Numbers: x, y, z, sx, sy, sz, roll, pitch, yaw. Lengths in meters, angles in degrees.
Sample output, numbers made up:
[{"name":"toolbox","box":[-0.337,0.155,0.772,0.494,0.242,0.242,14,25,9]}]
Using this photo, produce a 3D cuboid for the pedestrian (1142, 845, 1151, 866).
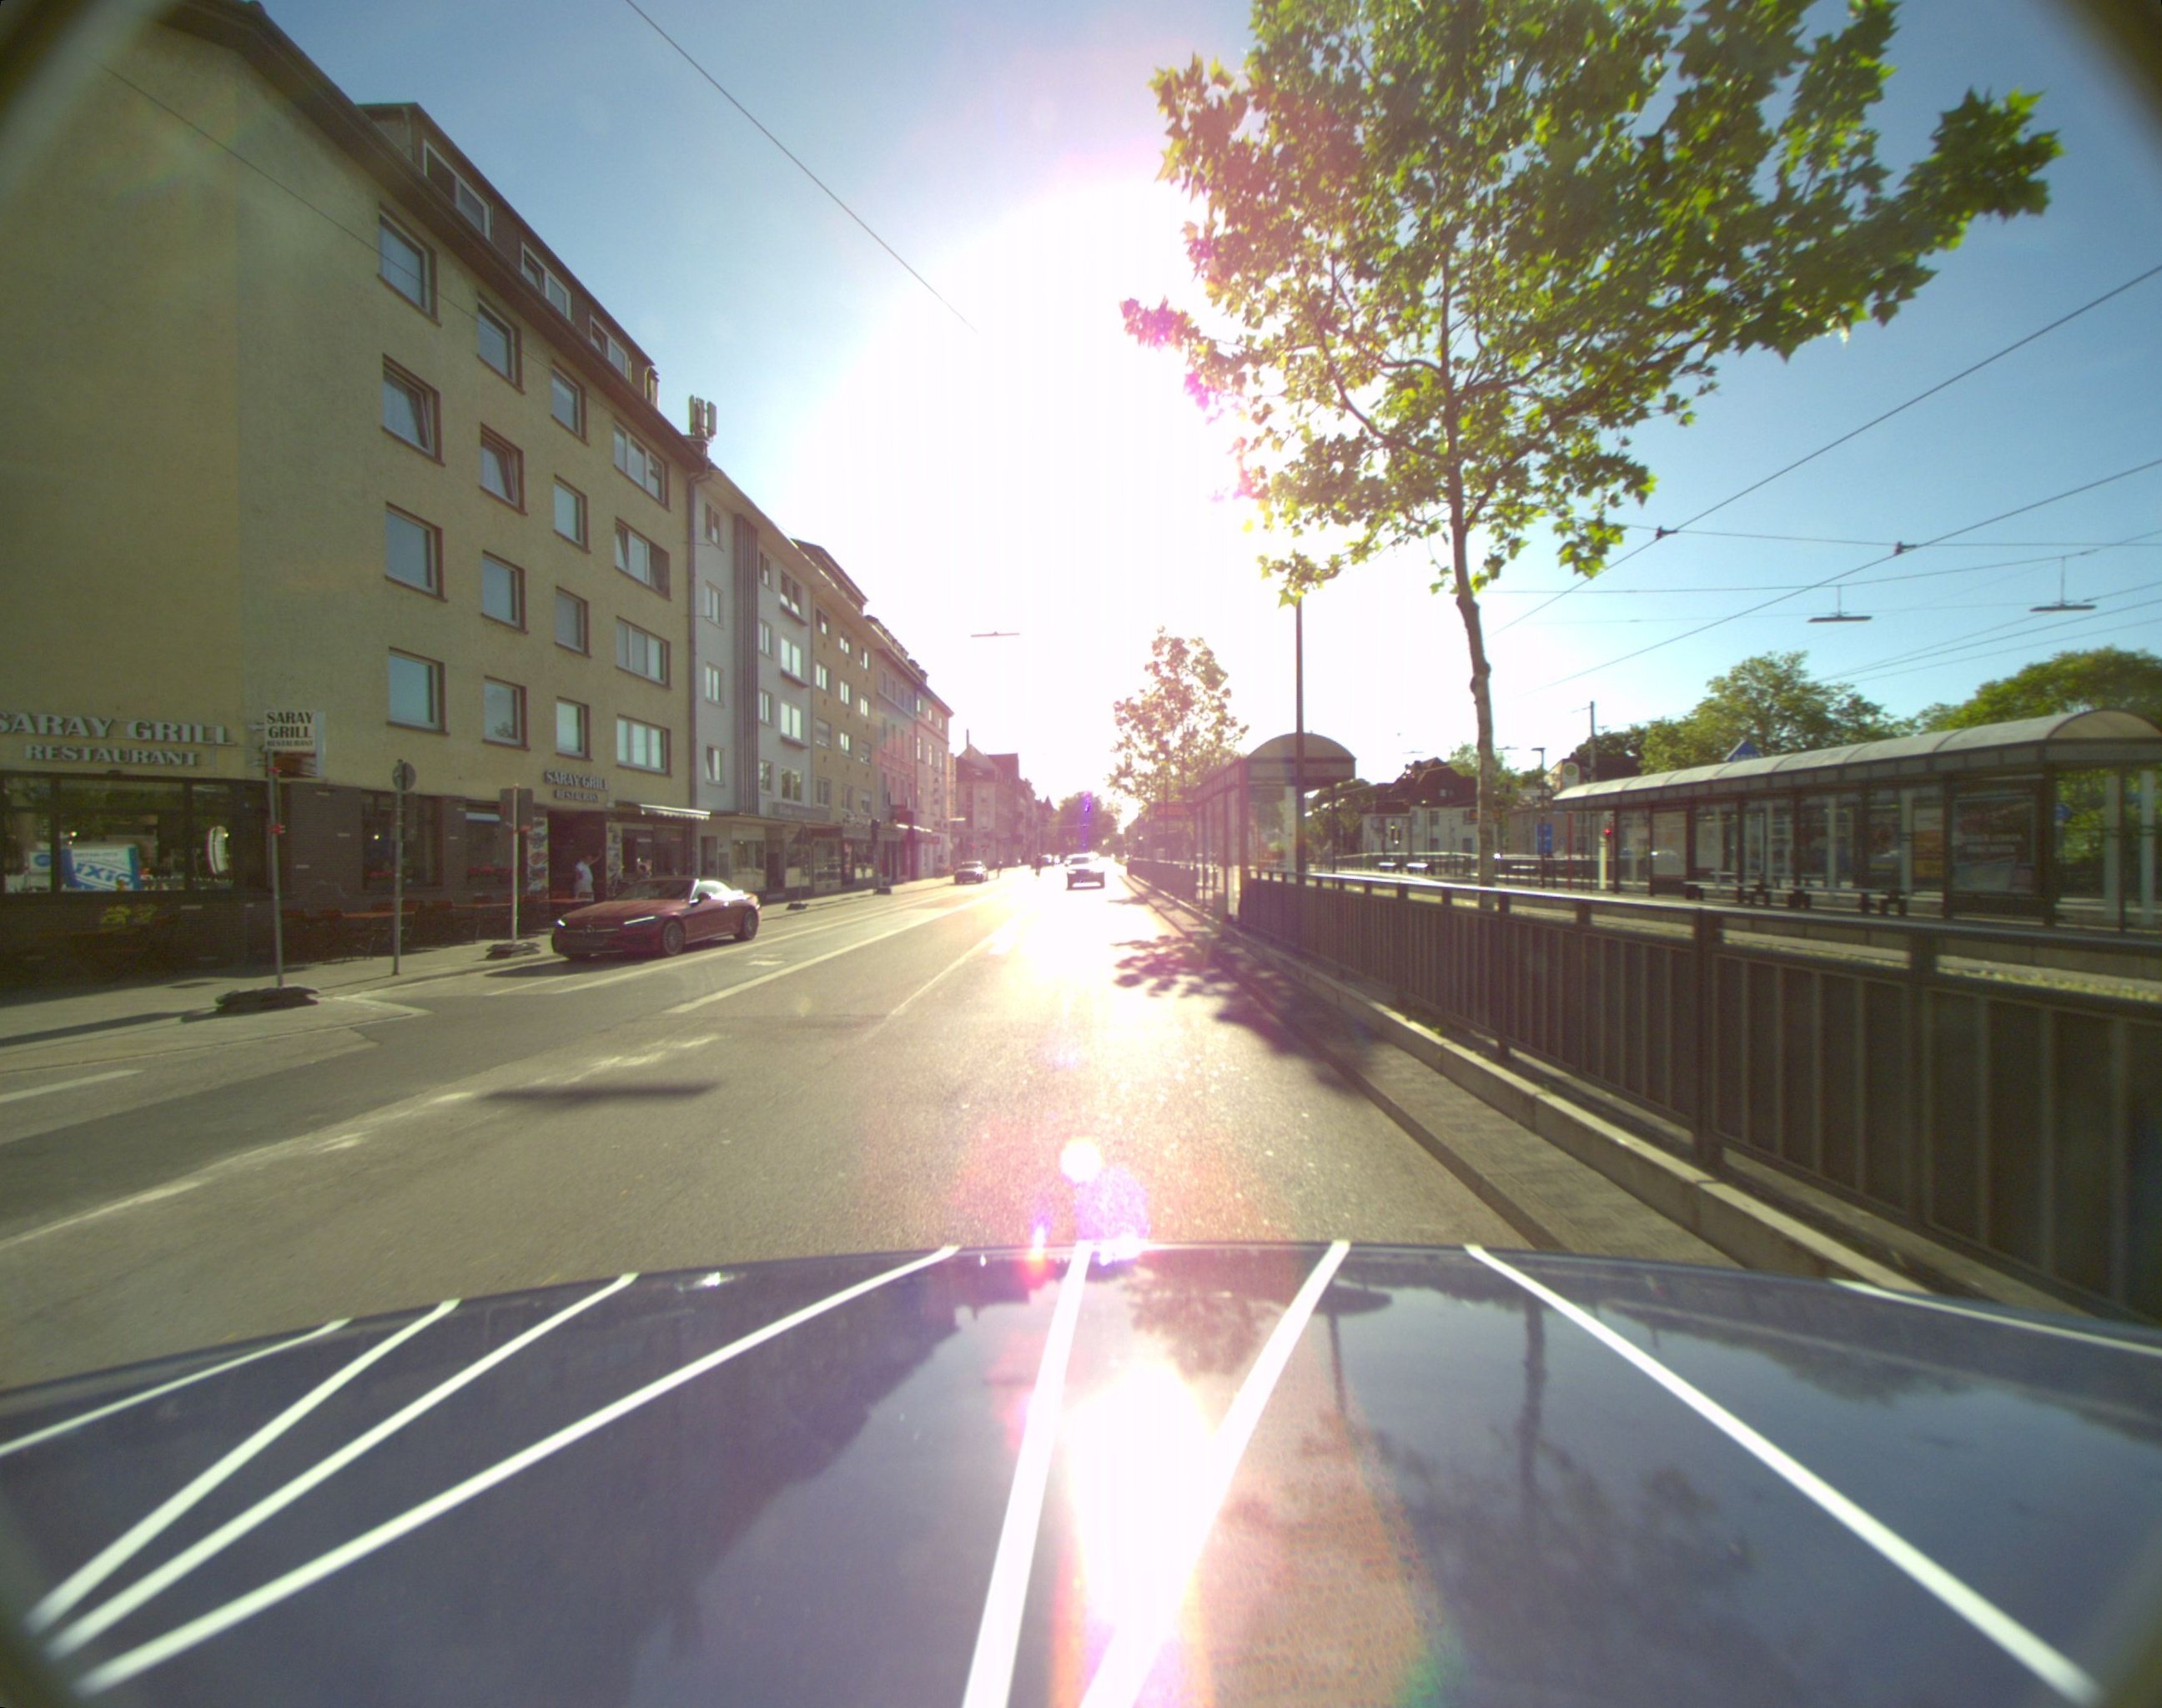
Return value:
[{"name":"pedestrian","box":[5.251,0.132,60.909,0.743,1.680,0.776,-1,1,4]}]

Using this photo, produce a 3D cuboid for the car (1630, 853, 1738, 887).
[{"name":"car","box":[26.743,0.667,33.885,1.802,1.412,4.000,-1,0,3]}]

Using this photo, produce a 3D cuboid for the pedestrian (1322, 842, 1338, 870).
[{"name":"pedestrian","box":[14.099,0.124,42.985,0.686,1.583,0.735,-1,1,2]}]

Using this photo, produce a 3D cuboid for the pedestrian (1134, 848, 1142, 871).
[{"name":"pedestrian","box":[4.443,0.421,59.419,0.637,1.817,0.776,-1,1,4]}]

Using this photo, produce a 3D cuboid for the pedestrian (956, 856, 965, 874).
[{"name":"pedestrian","box":[-11.211,1.051,70.644,0.663,1.680,0.677,-1,1,1]}]

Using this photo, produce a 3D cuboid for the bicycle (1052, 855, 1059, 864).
[{"name":"bicycle","box":[-3.582,0.764,106.671,0.693,1.208,2.299,-1,0,6]}]

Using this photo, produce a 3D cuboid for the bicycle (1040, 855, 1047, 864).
[{"name":"bicycle","box":[-5.260,0.814,106.845,0.693,1.208,2.299,-1,0,6]}]

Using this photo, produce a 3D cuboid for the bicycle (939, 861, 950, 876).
[{"name":"bicycle","box":[-10.693,1.137,59.604,0.697,1.102,1.863,-1,1,-13]}]

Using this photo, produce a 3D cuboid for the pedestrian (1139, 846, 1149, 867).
[{"name":"pedestrian","box":[5.160,0.185,62.477,0.799,1.680,0.776,-1,1,4]}]

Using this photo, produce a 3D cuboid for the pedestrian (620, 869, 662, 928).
[{"name":"pedestrian","box":[-11.503,1.142,19.869,0.672,1.498,0.652,-1,1,1]}]

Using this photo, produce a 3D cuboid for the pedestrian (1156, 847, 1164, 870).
[{"name":"pedestrian","box":[6.453,0.368,61.996,0.651,1.821,0.808,-1,1,4]}]

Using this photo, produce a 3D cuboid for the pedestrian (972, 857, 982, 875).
[{"name":"pedestrian","box":[-9.616,1.103,70.275,0.775,1.680,0.800,-1,-1,1]}]

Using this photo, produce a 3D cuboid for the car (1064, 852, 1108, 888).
[{"name":"car","box":[0.334,0.757,38.525,1.979,1.660,4.621,-2,0,3]}]

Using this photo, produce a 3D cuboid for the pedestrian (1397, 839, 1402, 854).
[{"name":"pedestrian","box":[37.863,-0.908,90.359,0.417,1.733,0.409,-1,1,1]}]

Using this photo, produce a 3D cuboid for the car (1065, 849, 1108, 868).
[{"name":"car","box":[0.522,0.368,66.316,1.995,1.594,4.280,-1,1,26]}]

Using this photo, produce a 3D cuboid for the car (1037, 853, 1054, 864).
[{"name":"car","box":[-5.951,0.711,128.734,2.294,1.716,4.595,-1,0,4]}]

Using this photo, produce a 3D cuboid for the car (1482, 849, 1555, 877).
[{"name":"car","box":[23.746,0.458,41.375,1.802,1.412,4.000,-1,0,3]}]

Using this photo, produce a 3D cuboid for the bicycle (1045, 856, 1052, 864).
[{"name":"bicycle","box":[-4.636,0.872,109.106,0.693,1.208,2.299,-1,0,6]}]

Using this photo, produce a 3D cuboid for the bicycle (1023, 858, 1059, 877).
[{"name":"bicycle","box":[-2.888,0.954,55.155,2.382,1.349,1.020,-1,1,-26]}]

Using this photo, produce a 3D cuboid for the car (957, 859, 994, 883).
[{"name":"car","box":[-7.222,1.125,52.362,1.904,1.421,4.716,-2,0,0]}]

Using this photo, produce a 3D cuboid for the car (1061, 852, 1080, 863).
[{"name":"car","box":[-1.522,0.550,112.346,2.294,1.566,4.596,-1,0,6]}]

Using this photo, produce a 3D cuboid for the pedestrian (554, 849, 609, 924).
[{"name":"pedestrian","box":[-12.688,0.811,19.316,0.730,1.844,0.901,-1,1,4]}]

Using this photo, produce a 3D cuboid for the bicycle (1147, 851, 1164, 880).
[{"name":"bicycle","box":[3.576,0.526,36.449,0.641,1.371,2.169,-1,0,2]}]

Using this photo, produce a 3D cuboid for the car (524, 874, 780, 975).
[{"name":"car","box":[-7.915,1.210,14.774,1.876,1.434,5.159,-1,0,2]}]

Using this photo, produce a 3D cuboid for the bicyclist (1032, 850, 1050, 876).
[{"name":"bicyclist","box":[-2.900,0.668,55.132,1.005,1.872,0.991,-1,1,-26]}]

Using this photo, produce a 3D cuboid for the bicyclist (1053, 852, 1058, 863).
[{"name":"bicyclist","box":[-3.613,0.524,107.368,0.696,1.596,0.745,-1,1,6]}]

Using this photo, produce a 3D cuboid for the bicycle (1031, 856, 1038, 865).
[{"name":"bicycle","box":[-6.545,0.899,107.349,0.693,1.208,2.299,-1,0,6]}]

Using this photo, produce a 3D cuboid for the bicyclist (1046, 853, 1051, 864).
[{"name":"bicyclist","box":[-4.644,0.672,108.988,0.696,1.596,0.745,-1,1,6]}]

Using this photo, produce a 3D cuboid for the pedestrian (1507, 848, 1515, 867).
[{"name":"pedestrian","box":[38.198,0.308,67.563,0.493,1.760,0.522,-1,1,13]}]
